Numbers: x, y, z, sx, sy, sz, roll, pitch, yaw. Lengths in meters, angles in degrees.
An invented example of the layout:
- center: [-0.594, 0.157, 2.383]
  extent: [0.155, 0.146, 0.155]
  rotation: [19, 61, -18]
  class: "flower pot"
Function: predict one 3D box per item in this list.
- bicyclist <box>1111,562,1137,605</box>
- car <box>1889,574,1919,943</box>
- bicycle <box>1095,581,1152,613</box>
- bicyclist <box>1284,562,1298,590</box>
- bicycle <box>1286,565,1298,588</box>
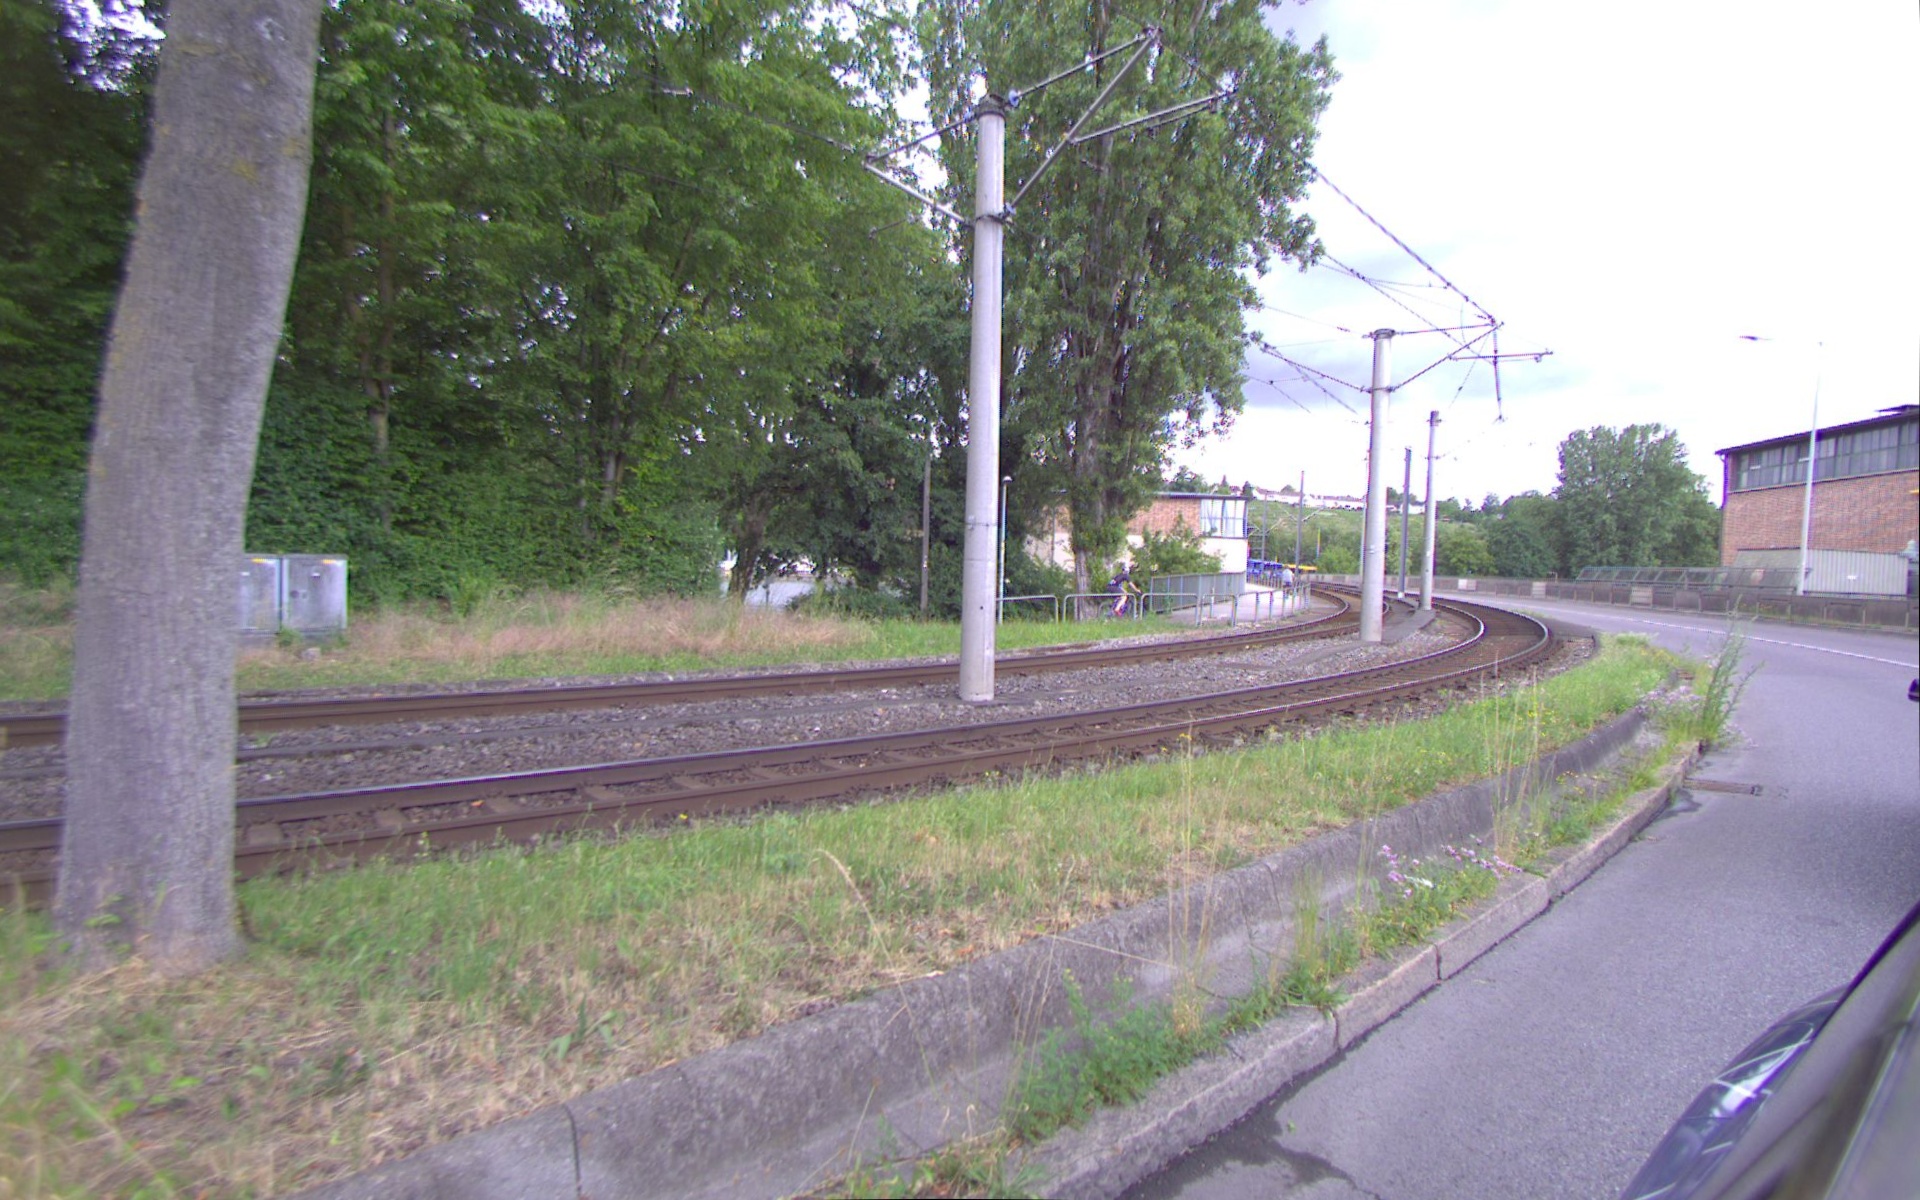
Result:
- center: [4.265, -0.438, 26.333]
  extent: [0.464, 1.097, 0.418]
  rotation: [1, 1, -26]
  class: "bicyclist"
- center: [6.308, 0.714, 5.149]
  extent: [3.931, 1.641, 1.860]
  rotation: [-1, 3, -41]
  class: "car"
- center: [4.255, -0.070, 26.335]
  extent: [1.516, 0.804, 0.349]
  rotation: [1, 2, -26]
  class: "bicycle"
- center: [16.160, -1.168, 49.394]
  extent: [0.588, 1.377, 0.904]
  rotation: [1, 1, 21]
  class: "bicyclist"
- center: [16.206, -1.139, 49.372]
  extent: [0.422, 1.063, 2.065]
  rotation: [1, 1, 21]
  class: "bicycle"
